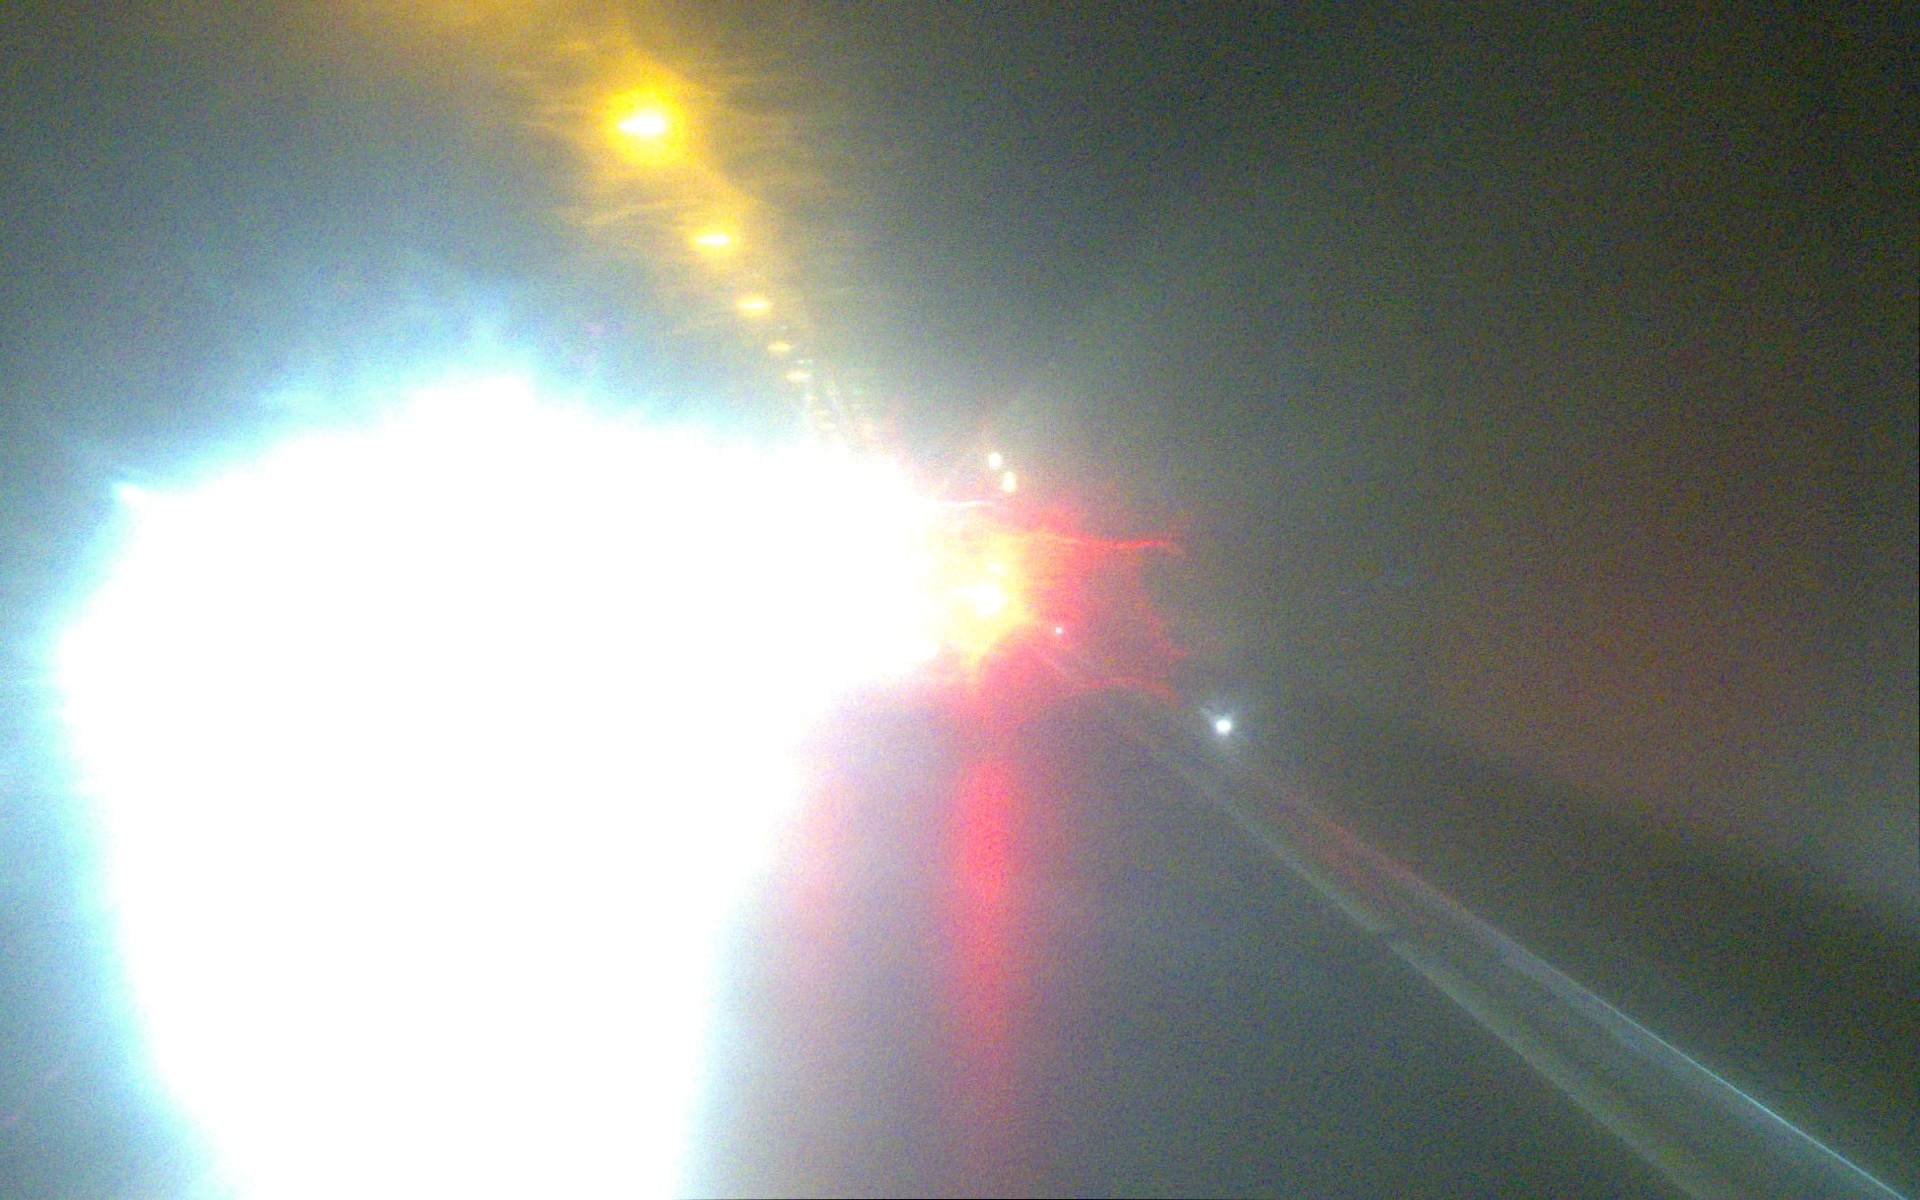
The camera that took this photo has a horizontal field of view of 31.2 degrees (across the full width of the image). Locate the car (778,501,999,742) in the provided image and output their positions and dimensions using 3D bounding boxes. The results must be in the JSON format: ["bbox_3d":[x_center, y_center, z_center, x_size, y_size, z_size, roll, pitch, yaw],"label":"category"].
[{"bbox_3d":[-0.545,0.102,28.242,1.635,1.751,4.146,-2,2,0],"label":"car"}]

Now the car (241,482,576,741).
[{"bbox_3d":[-3.760,0.005,24.087,1.635,1.597,4.146,-2,2,0],"label":"car"}]
